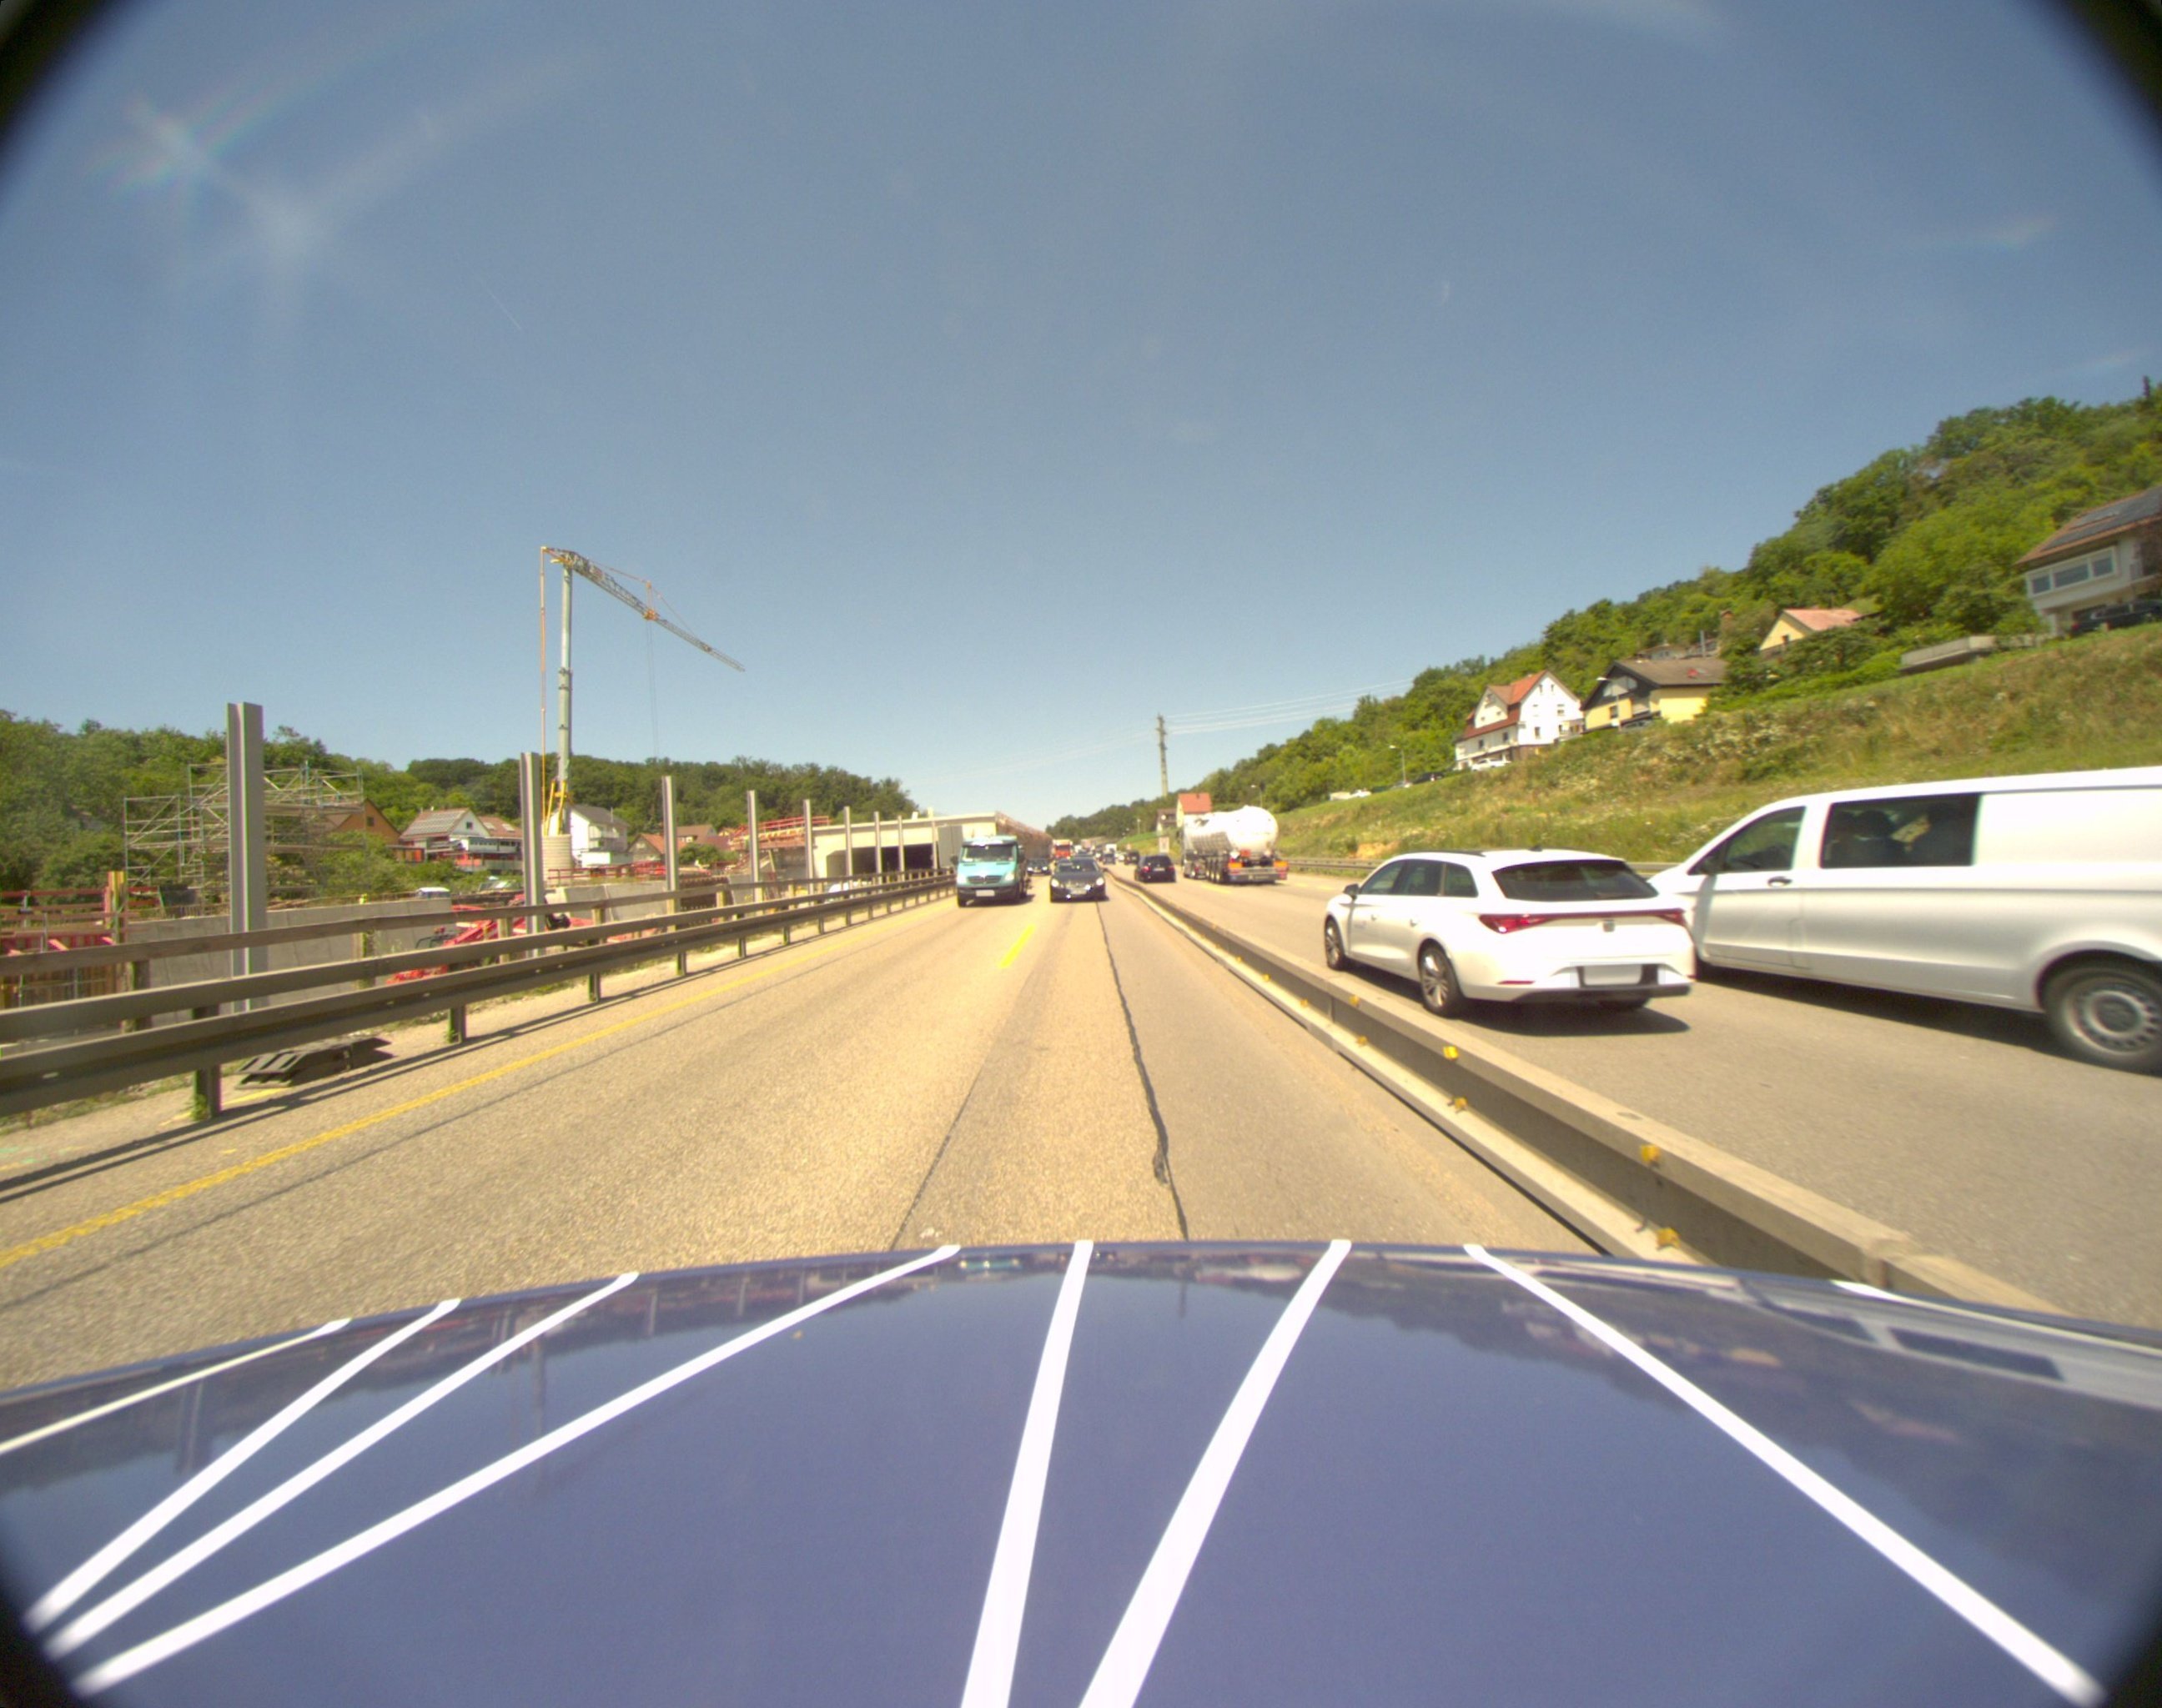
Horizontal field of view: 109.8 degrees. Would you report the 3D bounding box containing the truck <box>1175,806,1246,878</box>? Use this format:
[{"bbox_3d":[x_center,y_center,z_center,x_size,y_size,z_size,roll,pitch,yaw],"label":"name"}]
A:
[{"bbox_3d":[7.166,-0.613,42.851,2.786,3.651,6.276,-2,0,0],"label":"truck"}]

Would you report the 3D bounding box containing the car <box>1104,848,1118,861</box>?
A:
[{"bbox_3d":[4.369,0.090,111.067,1.850,1.767,4.881,-2,0,0],"label":"car"}]

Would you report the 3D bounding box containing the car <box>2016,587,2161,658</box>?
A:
[{"bbox_3d":[43.891,-9.823,32.335,2.185,1.784,4.760,-2,1,-6],"label":"car"}]

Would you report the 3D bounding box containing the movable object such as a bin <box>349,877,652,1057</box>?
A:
[{"bbox_3d":[-19.944,3.509,27.377,3.235,4.716,9.652,-2,2,0],"label":"movable object such as a bin"}]

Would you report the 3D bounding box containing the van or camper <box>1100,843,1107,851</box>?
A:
[{"bbox_3d":[7.587,-2.368,257.306,2.145,2.558,6.563,-3,0,0],"label":"van or camper"}]

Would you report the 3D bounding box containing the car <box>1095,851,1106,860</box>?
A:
[{"bbox_3d":[3.482,0.200,134.576,1.802,1.458,4.355,-1,0,0],"label":"car"}]

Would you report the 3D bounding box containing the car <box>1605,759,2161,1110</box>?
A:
[{"bbox_3d":[7.027,0.424,6.052,1.998,1.959,5.343,-2,0,0],"label":"car"}]

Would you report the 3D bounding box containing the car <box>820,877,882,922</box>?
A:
[{"bbox_3d":[-17.636,3.428,58.683,2.150,2.840,7.022,-2,2,4],"label":"car"}]

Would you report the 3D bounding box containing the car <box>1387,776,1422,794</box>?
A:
[{"bbox_3d":[39.351,-8.344,92.565,1.999,1.861,4.427,-2,2,-5],"label":"car"}]

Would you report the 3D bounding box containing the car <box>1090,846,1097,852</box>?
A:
[{"bbox_3d":[3.798,-1.404,224.069,1.842,1.817,5.039,-2,0,-1],"label":"car"}]

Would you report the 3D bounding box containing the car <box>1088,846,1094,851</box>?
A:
[{"bbox_3d":[3.451,-1.757,254.962,1.847,1.467,4.834,-2,0,0],"label":"car"}]

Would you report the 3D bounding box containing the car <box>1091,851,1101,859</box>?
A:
[{"bbox_3d":[3.091,0.174,153.438,1.811,1.630,4.171,-2,0,-1],"label":"car"}]

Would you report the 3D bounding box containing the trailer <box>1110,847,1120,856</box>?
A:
[{"bbox_3d":[8.147,-0.609,182.476,2.107,1.883,5.140,-2,0,0],"label":"trailer"}]

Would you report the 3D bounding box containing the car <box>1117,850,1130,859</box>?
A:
[{"bbox_3d":[7.232,0.135,129.350,1.808,1.488,4.599,-2,0,-1],"label":"car"}]

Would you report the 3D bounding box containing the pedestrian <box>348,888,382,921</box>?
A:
[{"bbox_3d":[-45.236,3.194,48.013,1.140,1.976,0.972,-2,2,4],"label":"pedestrian"}]

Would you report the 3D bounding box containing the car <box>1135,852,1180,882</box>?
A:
[{"bbox_3d":[3.881,0.634,39.444,1.899,1.406,4.679,-2,0,1],"label":"car"}]

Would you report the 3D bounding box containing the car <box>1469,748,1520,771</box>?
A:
[{"bbox_3d":[41.121,-9.381,75.696,2.000,1.784,5.008,-2,1,-6],"label":"car"}]

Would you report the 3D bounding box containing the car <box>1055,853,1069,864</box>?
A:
[{"bbox_3d":[-2.898,0.628,115.501,1.883,1.532,4.280,-2,1,0],"label":"car"}]

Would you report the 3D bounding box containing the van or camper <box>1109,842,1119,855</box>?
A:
[{"bbox_3d":[8.165,-1.271,188.380,2.297,3.048,6.923,-2,0,0],"label":"van or camper"}]

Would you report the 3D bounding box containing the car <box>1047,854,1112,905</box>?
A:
[{"bbox_3d":[-0.015,0.796,26.141,1.998,1.441,4.601,-2,1,1],"label":"car"}]

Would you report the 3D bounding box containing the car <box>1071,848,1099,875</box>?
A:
[{"bbox_3d":[0.338,0.520,57.652,1.885,1.805,4.250,-2,2,2],"label":"car"}]

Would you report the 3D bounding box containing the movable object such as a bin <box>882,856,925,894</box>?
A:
[{"bbox_3d":[-21.328,2.465,91.958,2.961,4.040,9.153,-2,2,0],"label":"movable object such as a bin"}]

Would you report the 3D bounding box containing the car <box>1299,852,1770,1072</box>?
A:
[{"bbox_3d":[3.842,0.748,7.637,1.917,1.471,4.636,-2,0,0],"label":"car"}]

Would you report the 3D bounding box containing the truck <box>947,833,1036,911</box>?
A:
[{"bbox_3d":[-2.983,0.468,27.212,2.139,2.344,7.431,-2,1,1],"label":"truck"}]

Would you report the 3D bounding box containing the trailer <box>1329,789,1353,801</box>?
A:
[{"bbox_3d":[37.000,-8.441,108.200,1.908,1.507,3.034,-3,2,-11],"label":"trailer"}]

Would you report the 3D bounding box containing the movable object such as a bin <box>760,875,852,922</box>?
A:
[{"bbox_3d":[-25.415,4.102,70.239,7.141,2.883,3.503,-11,-2,23],"label":"movable object such as a bin"}]

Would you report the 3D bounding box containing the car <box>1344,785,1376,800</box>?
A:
[{"bbox_3d":[37.799,-8.349,103.018,2.000,1.646,4.548,-3,2,-9],"label":"car"}]

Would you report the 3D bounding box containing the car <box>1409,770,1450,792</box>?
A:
[{"bbox_3d":[40.073,-8.379,87.476,2.077,1.997,4.969,-2,2,-5],"label":"car"}]

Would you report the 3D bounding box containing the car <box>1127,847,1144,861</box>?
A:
[{"bbox_3d":[6.896,-0.009,97.240,1.832,1.755,4.496,-2,0,0],"label":"car"}]

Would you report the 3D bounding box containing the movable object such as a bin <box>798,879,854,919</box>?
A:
[{"bbox_3d":[-20.406,3.570,60.996,2.149,2.661,5.500,-2,2,5],"label":"movable object such as a bin"}]

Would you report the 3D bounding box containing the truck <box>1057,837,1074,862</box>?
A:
[{"bbox_3d":[-2.716,-0.853,135.297,2.750,4.222,9.092,-2,2,0],"label":"truck"}]

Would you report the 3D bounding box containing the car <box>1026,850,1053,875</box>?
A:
[{"bbox_3d":[-3.331,0.662,62.137,1.885,1.805,4.249,-2,2,0],"label":"car"}]

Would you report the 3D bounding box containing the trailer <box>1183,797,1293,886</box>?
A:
[{"bbox_3d":[7.243,-0.532,37.082,2.723,3.573,11.793,-2,0,0],"label":"trailer"}]
